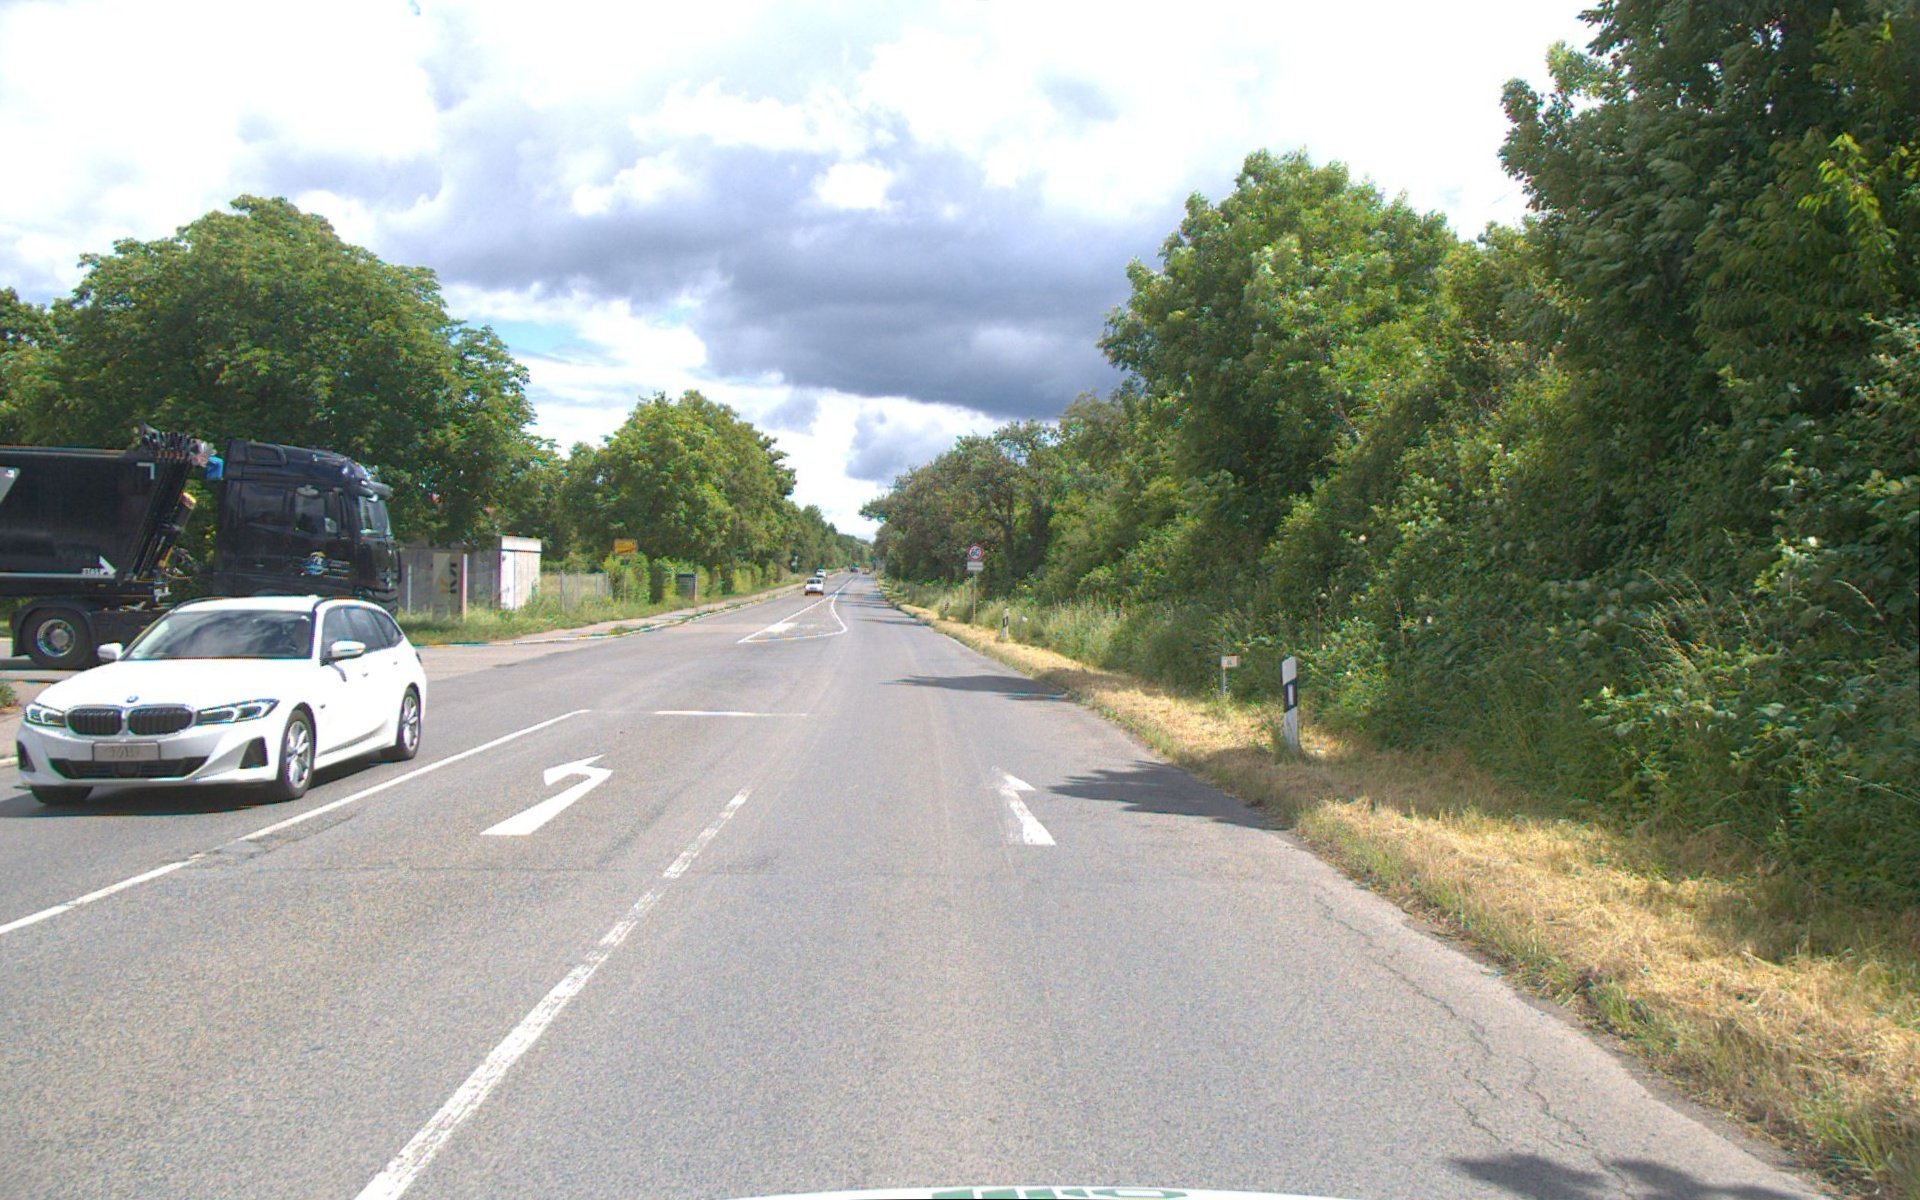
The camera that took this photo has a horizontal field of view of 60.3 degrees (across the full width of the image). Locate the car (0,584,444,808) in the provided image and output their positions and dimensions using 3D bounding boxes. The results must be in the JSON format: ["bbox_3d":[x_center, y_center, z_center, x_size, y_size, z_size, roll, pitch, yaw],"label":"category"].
[{"bbox_3d":[-5.736,0.632,13.314,1.954,1.476,4.424,-1,0,-3],"label":"car"}]

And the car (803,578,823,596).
[{"bbox_3d":[-12.408,-1.119,139.980,1.628,1.457,3.690,0,1,-4],"label":"car"}]

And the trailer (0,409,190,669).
[{"bbox_3d":[-18.030,-1.004,27.241,9.292,4.154,3.302,0,0,-19],"label":"trailer"}]

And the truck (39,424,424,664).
[{"bbox_3d":[-12.446,-0.898,28.736,5.450,3.890,2.979,0,0,-8],"label":"truck"}]

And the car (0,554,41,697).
[{"bbox_3d":[-12.985,0.246,18.127,1.953,1.633,4.715,2,1,41],"label":"car"}]
